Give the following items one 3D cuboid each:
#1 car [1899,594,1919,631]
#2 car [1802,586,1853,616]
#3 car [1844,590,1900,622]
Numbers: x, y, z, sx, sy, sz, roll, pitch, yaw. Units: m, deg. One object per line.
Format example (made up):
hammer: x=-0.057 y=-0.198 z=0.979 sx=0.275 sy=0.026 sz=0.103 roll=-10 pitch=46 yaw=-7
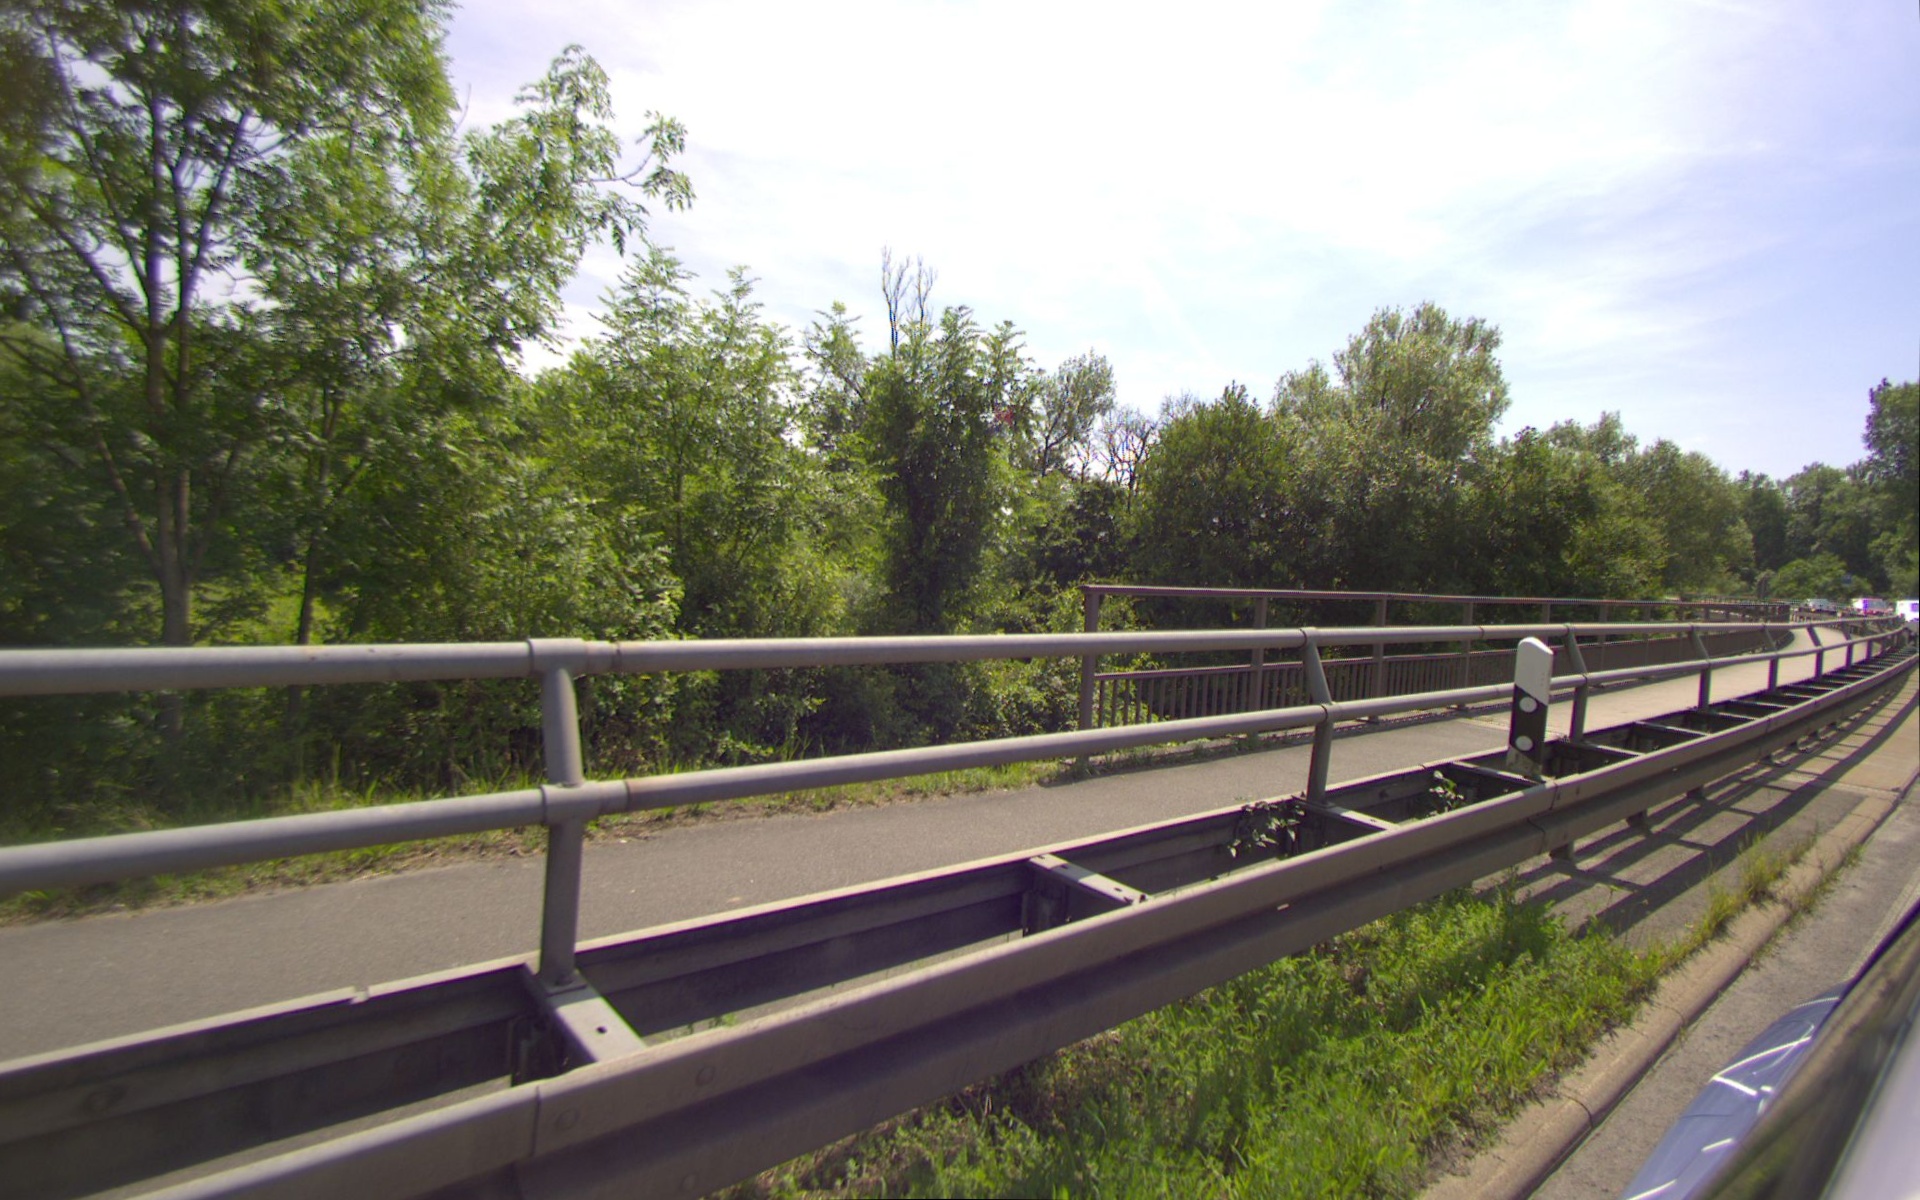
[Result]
car: x=45.339 y=0.583 z=47.119 sx=1.899 sy=1.668 sz=3.898 roll=0 pitch=0 yaw=37
car: x=61.861 y=0.069 z=72.227 sx=1.983 sy=2.039 sz=3.959 roll=0 pitch=0 yaw=29
car: x=52.860 y=0.338 z=58.738 sx=1.988 sy=1.798 sz=3.948 roll=0 pitch=0 yaw=36
